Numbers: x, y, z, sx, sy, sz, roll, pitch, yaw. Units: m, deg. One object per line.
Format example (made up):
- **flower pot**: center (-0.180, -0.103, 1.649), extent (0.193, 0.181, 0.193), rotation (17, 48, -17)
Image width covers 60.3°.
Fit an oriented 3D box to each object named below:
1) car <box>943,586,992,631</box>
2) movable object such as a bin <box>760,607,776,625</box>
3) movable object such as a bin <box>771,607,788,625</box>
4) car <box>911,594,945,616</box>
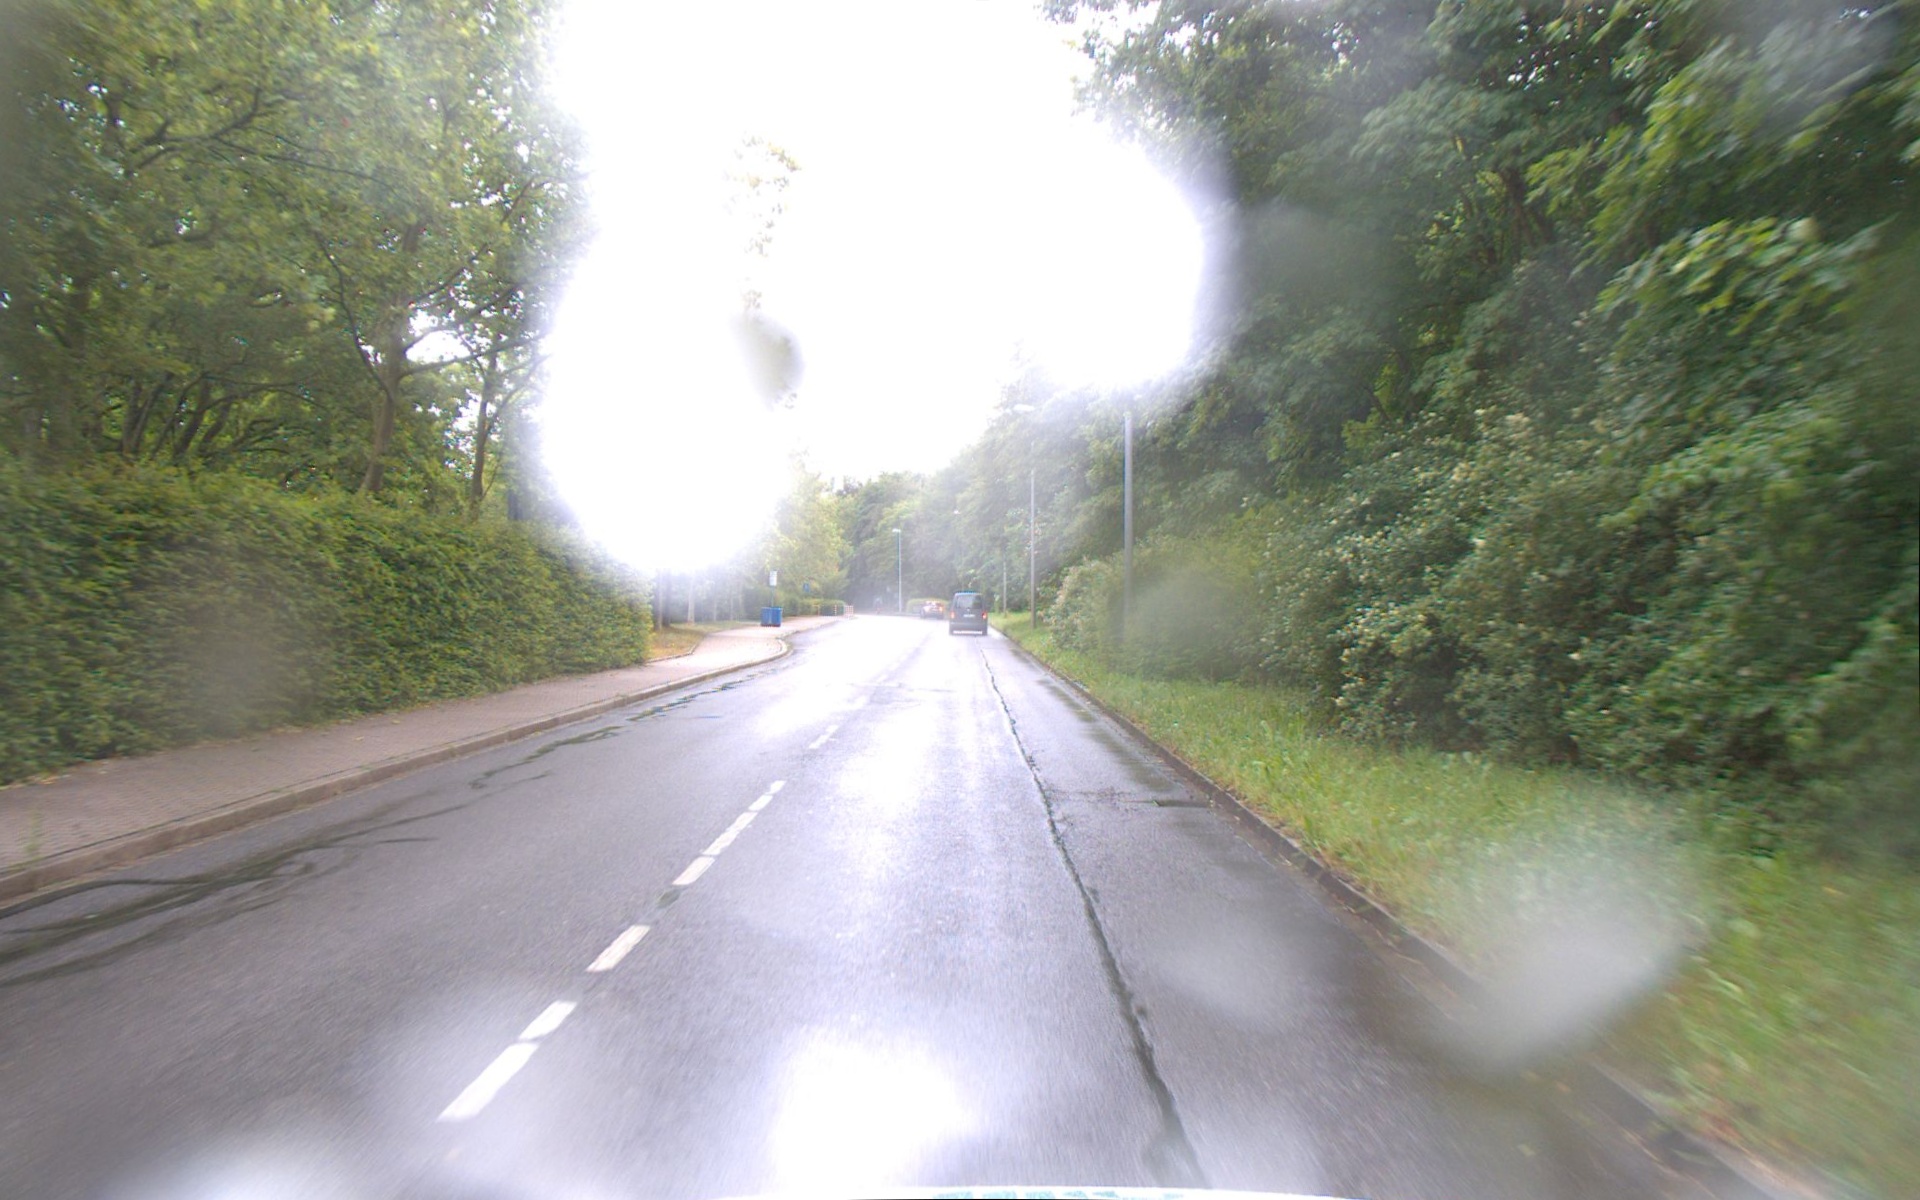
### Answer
- **car**: center (0.307, 0.367, 74.868), extent (1.954, 1.825, 3.999), rotation (3, 1, -2)
- **movable object such as a bin**: center (-11.082, 0.914, 95.478), extent (0.659, 1.044, 0.826), rotation (-2, 0, -31)
- **movable object such as a bin**: center (-10.484, 0.919, 95.846), extent (0.659, 1.044, 0.826), rotation (-2, 0, -31)
- **car**: center (-2.692, 0.449, 139.669), extent (1.960, 1.803, 3.984), rotation (-1, 0, -15)
